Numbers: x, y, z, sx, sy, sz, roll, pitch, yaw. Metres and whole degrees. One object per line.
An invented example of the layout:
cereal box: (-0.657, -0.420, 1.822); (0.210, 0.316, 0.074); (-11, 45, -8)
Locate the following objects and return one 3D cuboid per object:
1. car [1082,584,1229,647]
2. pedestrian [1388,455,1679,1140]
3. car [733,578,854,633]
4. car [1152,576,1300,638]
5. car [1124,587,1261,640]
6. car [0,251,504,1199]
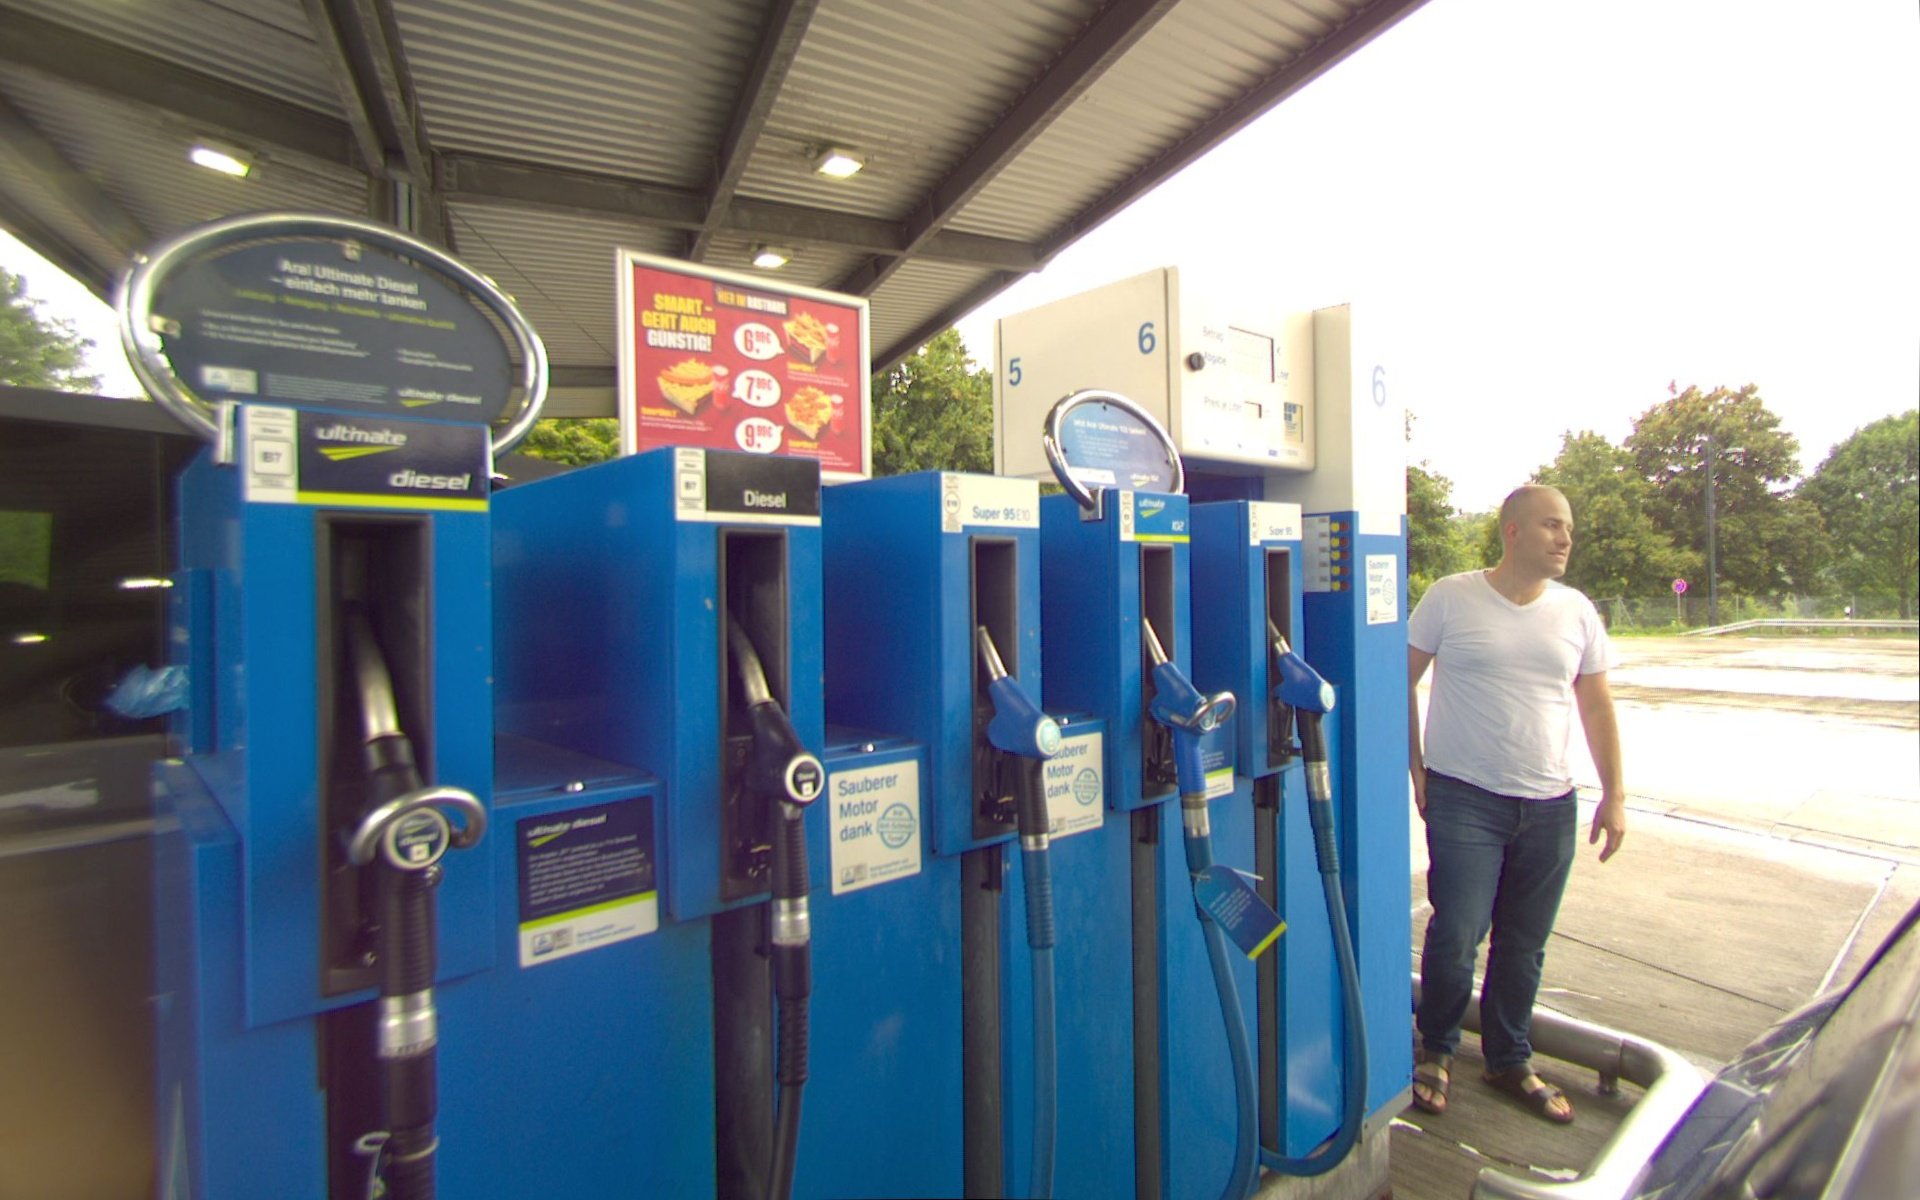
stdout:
car: (5.817, 0.420, 30.020); (4.123, 1.752, 1.990); (0, 0, 17)
pedestrian: (1.666, 0.527, 3.018); (0.625, 1.832, 0.492); (-1, 1, 15)
car: (-5.555, 0.150, 33.481); (1.967, 1.683, 4.170); (0, 0, -44)
car: (8.942, 0.207, 34.339); (4.700, 2.011, 2.007); (0, 0, 14)
car: (7.405, 0.404, 32.154); (4.123, 1.576, 1.990); (1, 0, 17)
car: (-3.012, 0.429, 1.484); (3.930, 1.973, 1.819); (0, 0, -41)
